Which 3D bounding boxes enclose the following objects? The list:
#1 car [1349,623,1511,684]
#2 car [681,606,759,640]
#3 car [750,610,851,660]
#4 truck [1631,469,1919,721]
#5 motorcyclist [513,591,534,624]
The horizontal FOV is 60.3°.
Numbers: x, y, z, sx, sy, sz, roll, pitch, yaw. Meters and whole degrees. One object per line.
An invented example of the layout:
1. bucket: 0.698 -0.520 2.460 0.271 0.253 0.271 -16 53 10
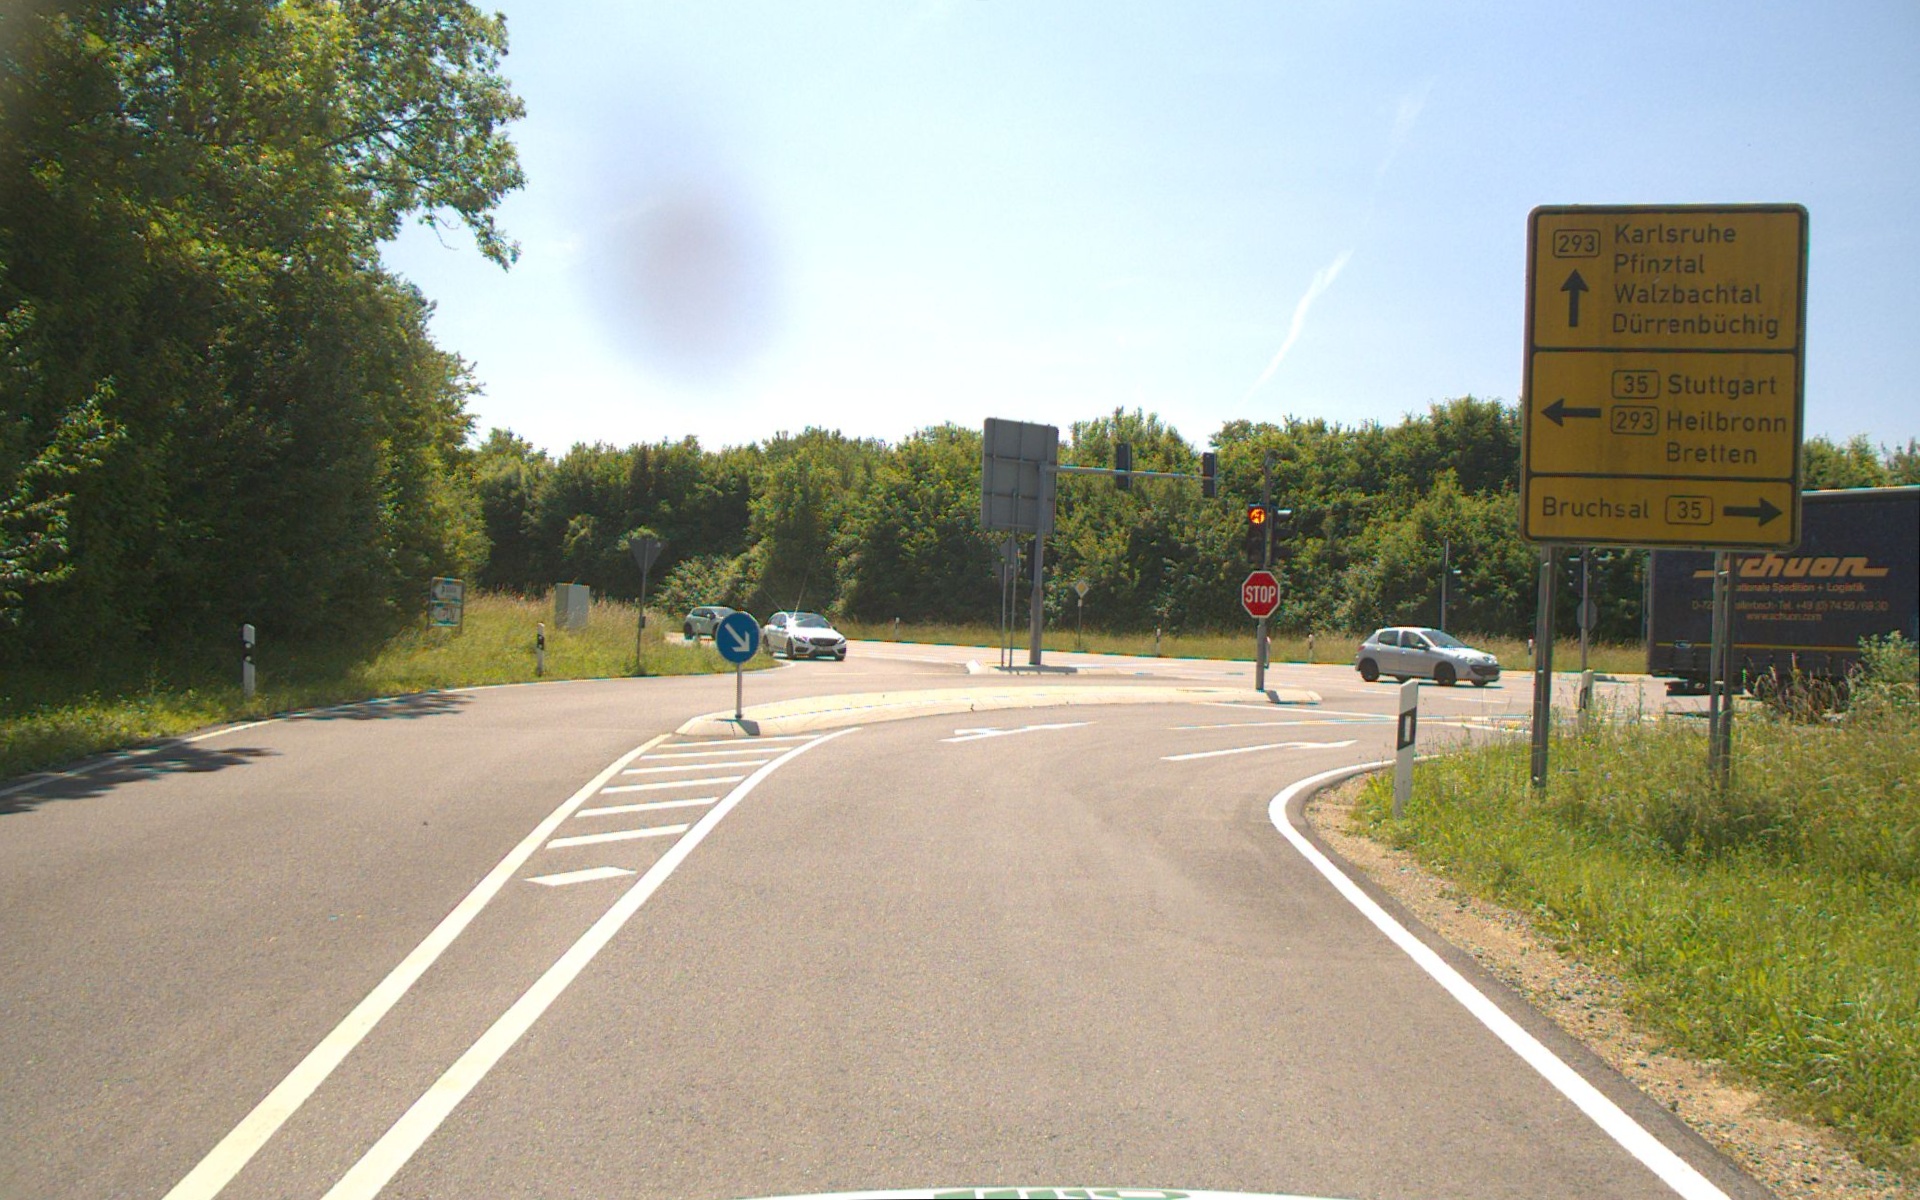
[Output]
1. car: 12.119 1.350 42.824 1.799 1.438 3.734 1 0 -37
2. car: -10.974 1.019 75.434 1.718 1.429 3.929 0 0 -40
3. car: -5.163 1.082 52.928 1.779 1.437 5.298 2 0 -22
4. truck: 18.539 -0.039 25.927 2.813 4.203 16.641 1 0 -30
5. motorcyclist: -25.379 0.442 96.211 0.833 1.875 0.884 0 -1 -45
